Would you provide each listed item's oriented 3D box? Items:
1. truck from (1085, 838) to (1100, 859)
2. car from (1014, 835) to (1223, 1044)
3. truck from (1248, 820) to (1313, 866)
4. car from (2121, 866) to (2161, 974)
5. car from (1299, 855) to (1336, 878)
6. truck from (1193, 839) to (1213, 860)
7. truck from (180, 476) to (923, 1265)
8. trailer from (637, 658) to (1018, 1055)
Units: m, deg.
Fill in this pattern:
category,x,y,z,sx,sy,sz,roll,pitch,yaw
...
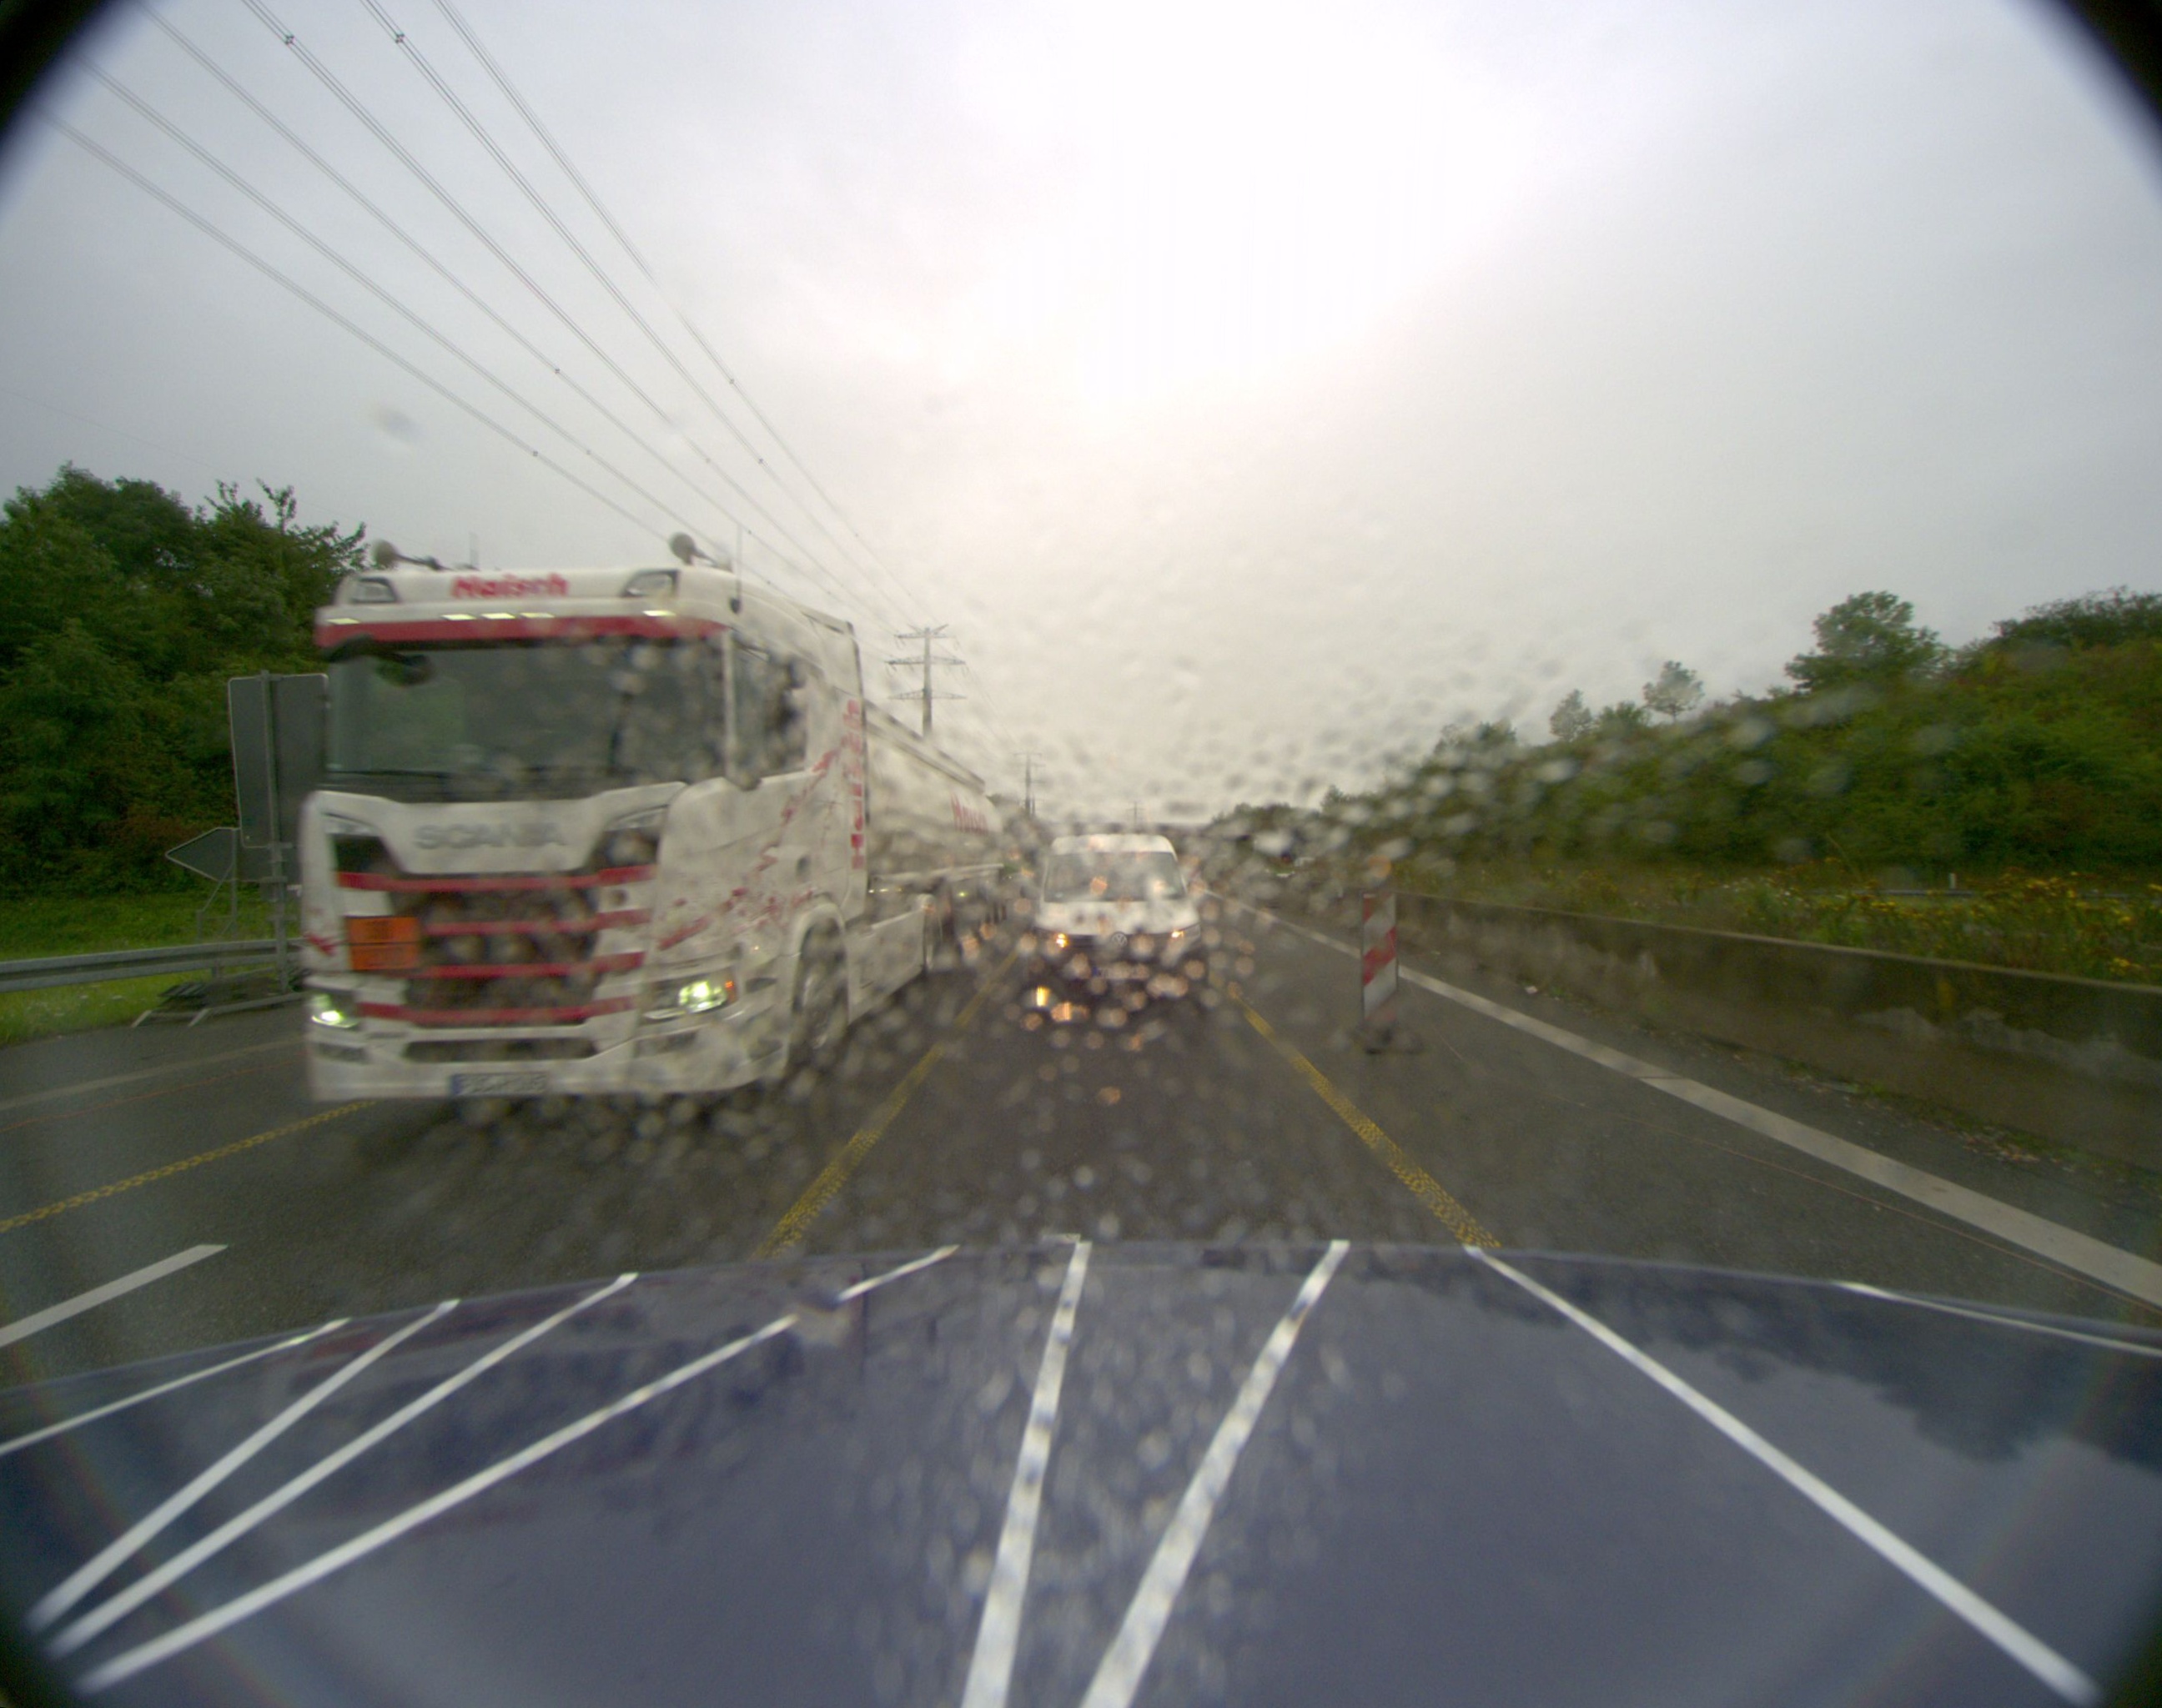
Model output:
category,x,y,z,sx,sy,sz,roll,pitch,yaw
truck,2.276,-1.050,146.891,2.553,3.924,4.000,-2,1,3
car,0.347,0.756,9.006,1.770,1.774,4.647,-2,0,0
truck,21.660,-1.245,83.981,3.414,4.498,17.288,-1,1,3
car,17.451,0.998,9.885,1.998,1.652,4.296,0,0,1
car,16.519,0.859,53.201,1.682,1.518,3.753,0,0,4
truck,25.873,-1.030,161.666,2.682,4.220,12.517,-2,1,3
truck,-3.061,0.084,5.834,2.651,3.868,4.029,-2,1,1
trailer,-2.965,-0.032,12.858,2.644,3.871,10.542,-2,1,1
